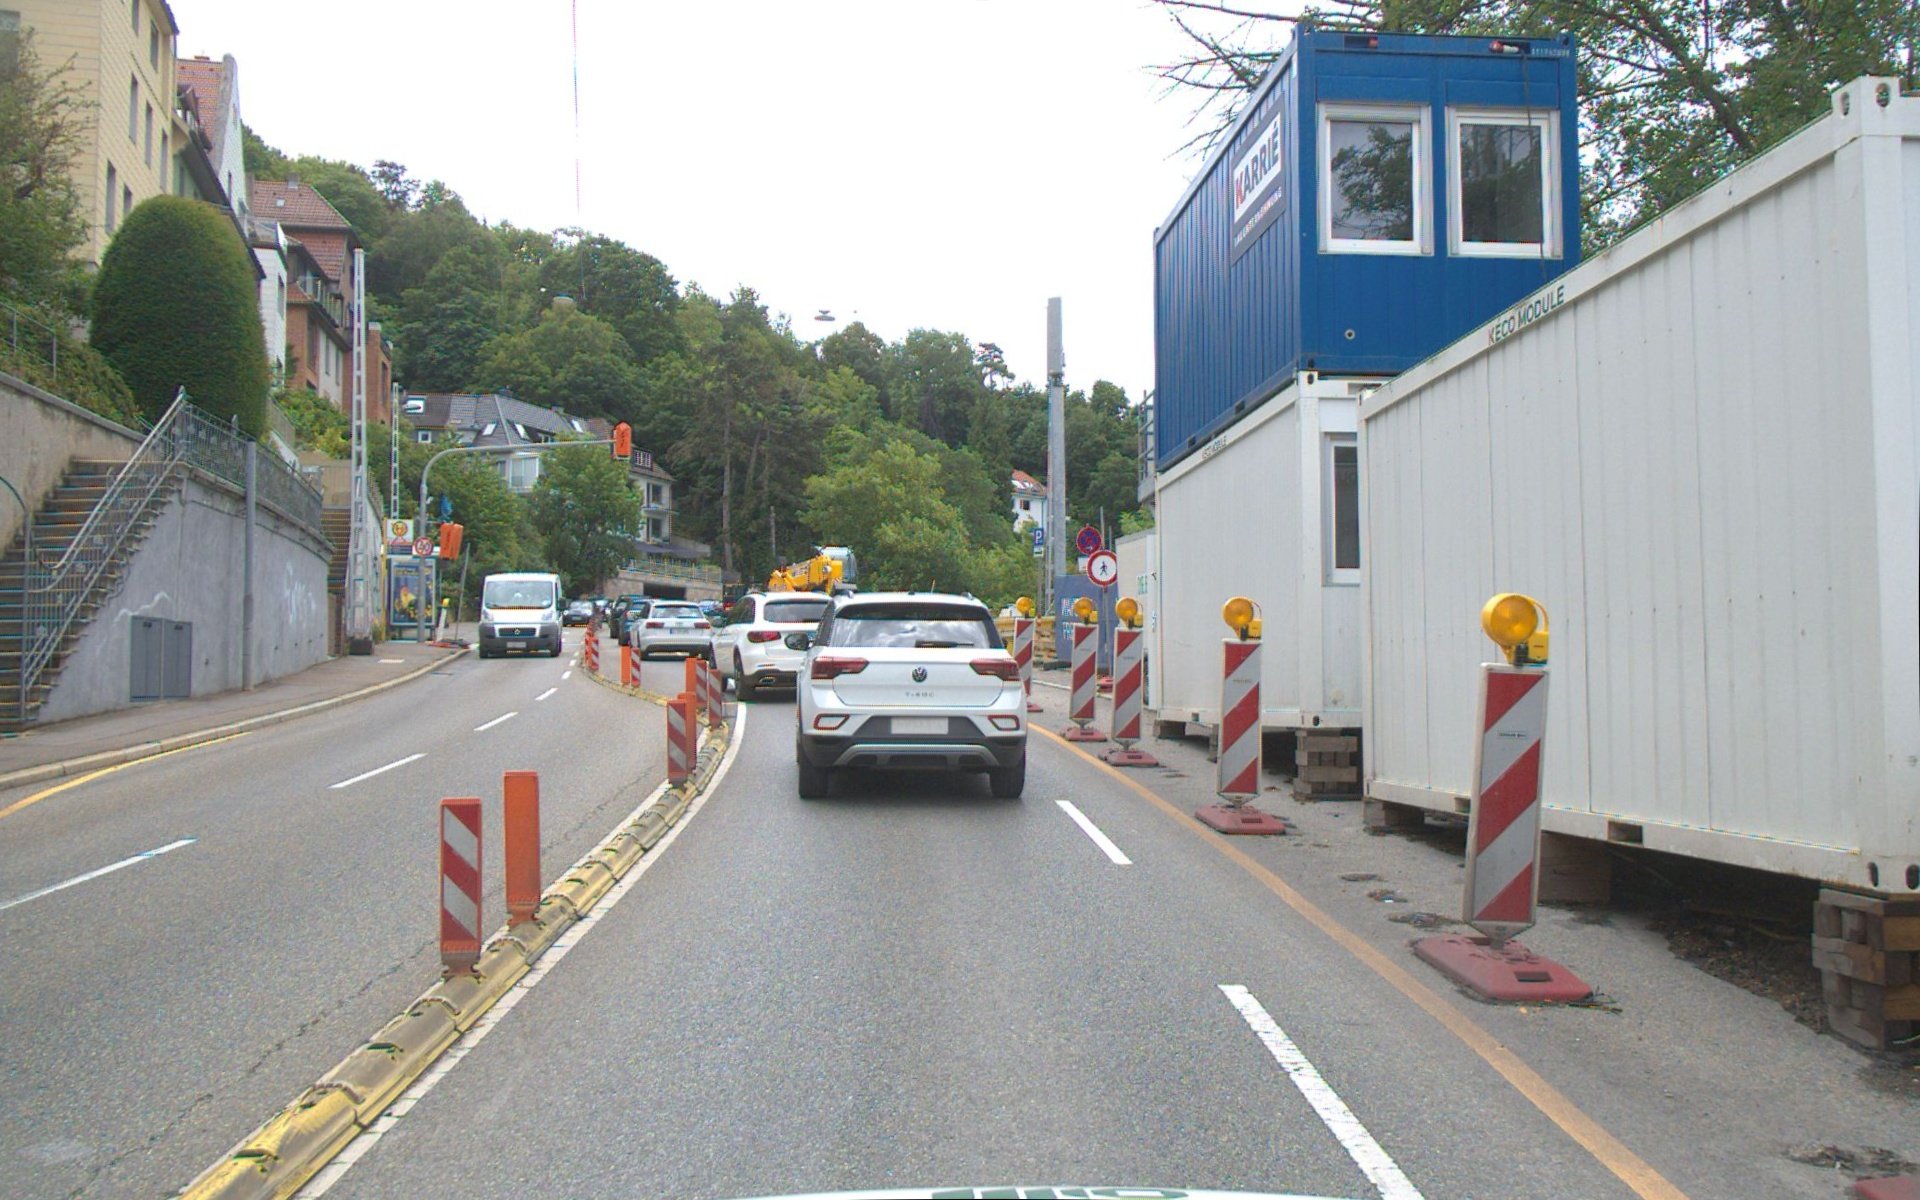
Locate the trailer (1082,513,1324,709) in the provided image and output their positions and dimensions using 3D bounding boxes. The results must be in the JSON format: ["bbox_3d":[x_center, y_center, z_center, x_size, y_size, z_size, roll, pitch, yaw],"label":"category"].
[{"bbox_3d":[3.487,0.146,24.910,2.068,2.594,5.107,-1,0,-10],"label":"trailer"}]

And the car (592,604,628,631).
[{"bbox_3d":[-22.120,1.083,104.614,1.807,1.628,4.257,1,0,-7],"label":"car"}]

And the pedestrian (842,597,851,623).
[{"bbox_3d":[-8.564,0.729,125.254,0.676,1.940,0.825,0,0,-3],"label":"pedestrian"}]

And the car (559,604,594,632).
[{"bbox_3d":[-21.143,0.981,91.230,1.641,1.455,3.579,0,0,-10],"label":"car"}]

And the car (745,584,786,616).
[{"bbox_3d":[-9.518,0.029,80.779,1.761,1.537,3.990,0,-1,-10],"label":"car"}]

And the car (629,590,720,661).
[{"bbox_3d":[-7.286,0.626,41.986,1.781,1.692,3.981,-1,0,-17],"label":"car"}]

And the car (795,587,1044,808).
[{"bbox_3d":[-0.428,0.696,13.871,1.774,1.558,3.996,-1,0,-4],"label":"car"}]

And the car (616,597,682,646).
[{"bbox_3d":[-10.221,0.676,54.177,1.765,1.537,3.982,-1,0,-16],"label":"car"}]

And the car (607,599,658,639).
[{"bbox_3d":[-13.075,0.720,65.863,1.764,1.537,3.984,0,0,-15],"label":"car"}]

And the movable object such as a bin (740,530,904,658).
[{"bbox_3d":[-3.911,-0.150,44.917,2.767,3.124,7.785,1,0,-17],"label":"movable object such as a bin"}]

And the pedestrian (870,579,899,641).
[{"bbox_3d":[-2.242,0.292,48.946,0.680,1.826,0.535,1,0,-26],"label":"pedestrian"}]

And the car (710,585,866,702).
[{"bbox_3d":[-2.828,0.642,26.431,1.781,1.692,3.982,-1,0,-16],"label":"car"}]

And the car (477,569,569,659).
[{"bbox_3d":[-11.785,0.341,44.889,2.030,2.225,4.949,-2,1,-11],"label":"car"}]

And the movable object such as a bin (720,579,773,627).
[{"bbox_3d":[-12.516,0.179,97.296,2.165,2.709,4.947,1,0,4],"label":"movable object such as a bin"}]
